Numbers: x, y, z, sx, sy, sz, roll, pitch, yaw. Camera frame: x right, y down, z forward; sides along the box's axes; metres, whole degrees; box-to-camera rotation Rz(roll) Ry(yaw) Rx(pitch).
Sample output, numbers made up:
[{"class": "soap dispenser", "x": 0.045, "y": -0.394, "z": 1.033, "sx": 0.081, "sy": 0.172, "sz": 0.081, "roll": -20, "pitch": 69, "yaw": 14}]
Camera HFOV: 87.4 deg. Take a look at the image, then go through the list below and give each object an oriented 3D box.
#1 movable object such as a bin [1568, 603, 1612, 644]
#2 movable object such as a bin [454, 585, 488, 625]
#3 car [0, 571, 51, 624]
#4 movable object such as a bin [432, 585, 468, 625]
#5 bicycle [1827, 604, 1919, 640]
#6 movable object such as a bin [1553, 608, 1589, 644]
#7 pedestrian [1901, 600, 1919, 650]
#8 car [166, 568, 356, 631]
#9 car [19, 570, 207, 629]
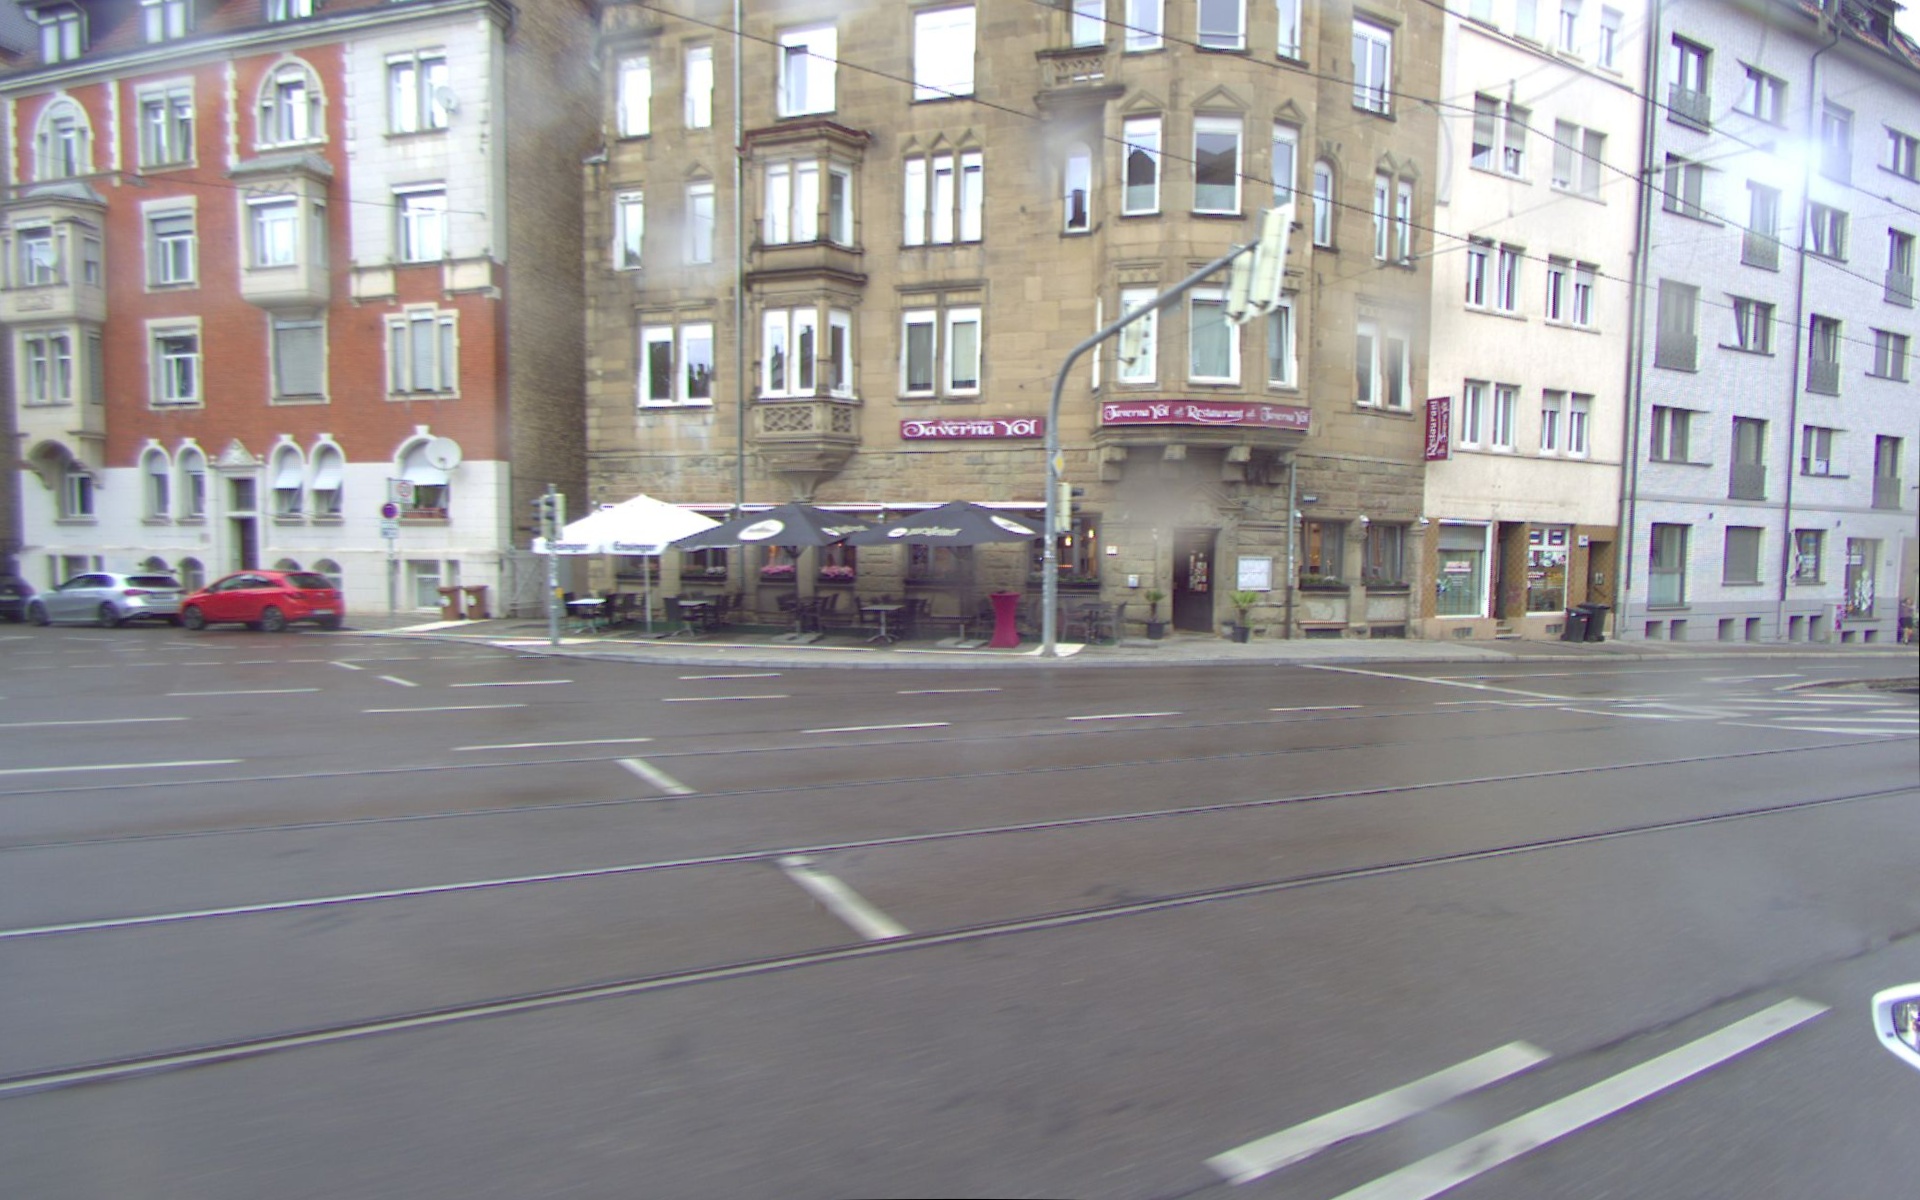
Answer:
[{"class": "movable object such as a bin", "x": 17.666, "y": 0.657, "z": 28.180, "sx": 0.678, "sy": 1.088, "sz": 0.710, "roll": 1, "pitch": 5, "yaw": -27}, {"class": "movable object such as a bin", "x": -13.142, "y": 0.139, "z": 27.005, "sx": 0.540, "sy": 1.056, "sz": 0.722, "roll": 1, "pitch": 1, "yaw": 4}, {"class": "car", "x": -27.777, "y": -0.102, "z": 27.963, "sx": 4.060, "sy": 1.422, "sz": 1.743, "roll": 1, "pitch": 1, "yaw": 16}, {"class": "movable object such as a bin", "x": -13.723, "y": 0.121, "z": 27.033, "sx": 0.540, "sy": 1.056, "sz": 0.722, "roll": 1, "pitch": 1, "yaw": 4}, {"class": "bicycle", "x": 43.334, "y": 1.008, "z": 47.623, "sx": 1.583, "sy": 1.606, "sz": 3.122, "roll": 1, "pitch": 1, "yaw": -37}, {"class": "movable object such as a bin", "x": 17.004, "y": 0.727, "z": 27.965, "sx": 0.553, "sy": 0.923, "sz": 0.591, "roll": 1, "pitch": 5, "yaw": -27}, {"class": "pedestrian", "x": 35.535, "y": 0.936, "z": 37.234, "sx": 0.912, "sy": 1.810, "sz": 0.638, "roll": 2, "pitch": -1, "yaw": -27}, {"class": "car", "x": -17.259, "y": -0.034, "z": 24.849, "sx": 3.919, "sy": 1.422, "sz": 1.743, "roll": 1, "pitch": 1, "yaw": 16}, {"class": "car", "x": -22.074, "y": -0.031, "z": 26.204, "sx": 4.084, "sy": 1.422, "sz": 1.743, "roll": 1, "pitch": 1, "yaw": 16}]
